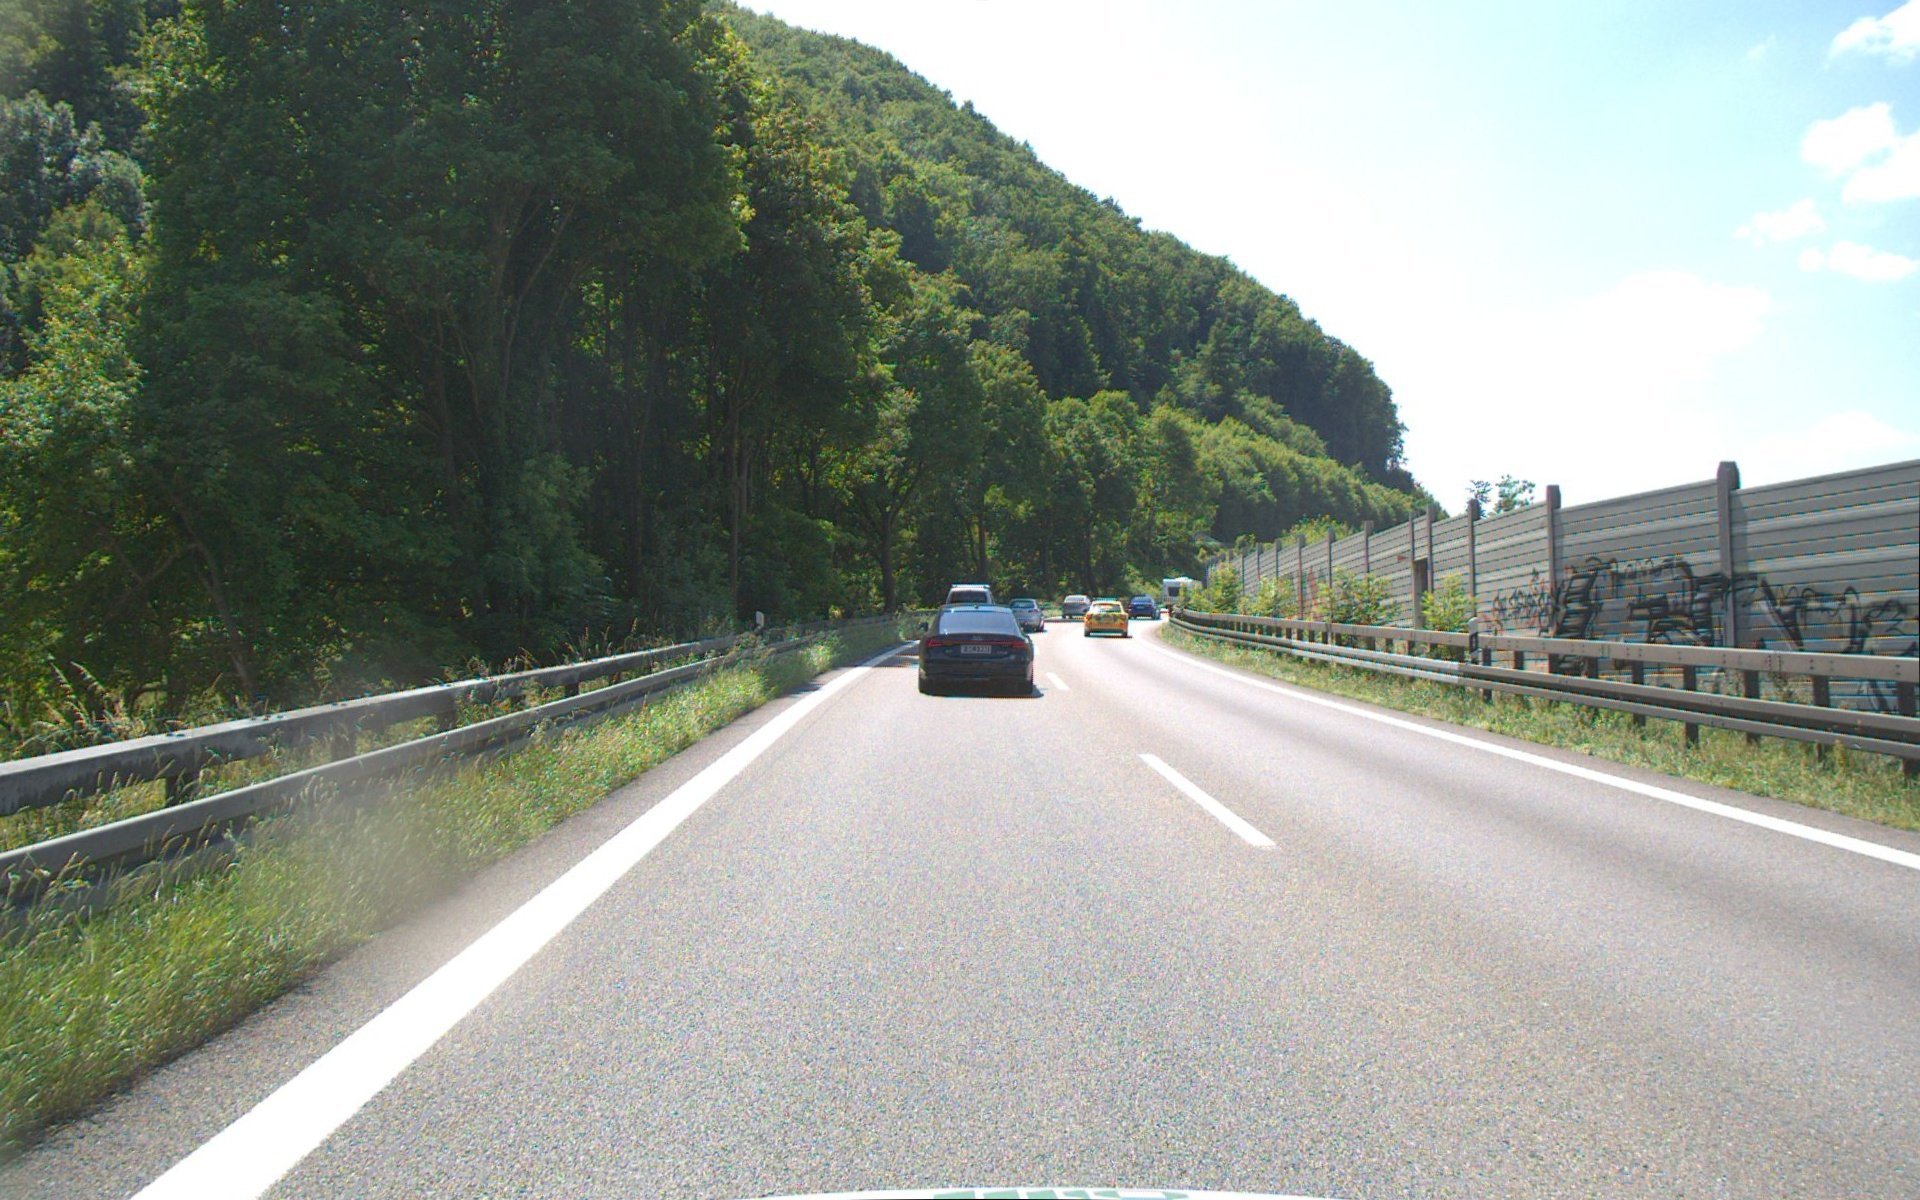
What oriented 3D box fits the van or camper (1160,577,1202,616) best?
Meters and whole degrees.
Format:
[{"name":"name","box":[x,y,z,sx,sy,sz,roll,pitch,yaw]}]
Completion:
[{"name":"van or camper","box":[17.197,-0.260,128.428,2.403,2.969,6.130,-1,0,15]}]

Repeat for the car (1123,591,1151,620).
[{"name":"car","box":[14.375,0.430,134.458,1.952,2.048,4.003,-6,-1,8]}]

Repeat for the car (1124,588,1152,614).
[{"name":"car","box":[11.621,0.101,108.014,1.736,1.665,4.002,0,0,6]}]

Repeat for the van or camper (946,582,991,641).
[{"name":"van or camper","box":[0.262,0.371,54.107,1.363,1.847,3.999,0,0,-1]}]

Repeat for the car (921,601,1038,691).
[{"name":"car","box":[0.275,0.721,27.547,1.800,1.373,3.999,0,0,-1]}]

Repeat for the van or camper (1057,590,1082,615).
[{"name":"van or camper","box":[7.172,0.161,108.211,1.525,1.561,3.507,0,0,6]}]

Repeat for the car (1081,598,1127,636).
[{"name":"car","box":[5.924,0.691,68.081,1.823,1.514,4.002,0,0,4]}]

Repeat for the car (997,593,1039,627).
[{"name":"car","box":[2.573,0.457,74.646,1.711,1.456,3.999,0,0,-1]}]
